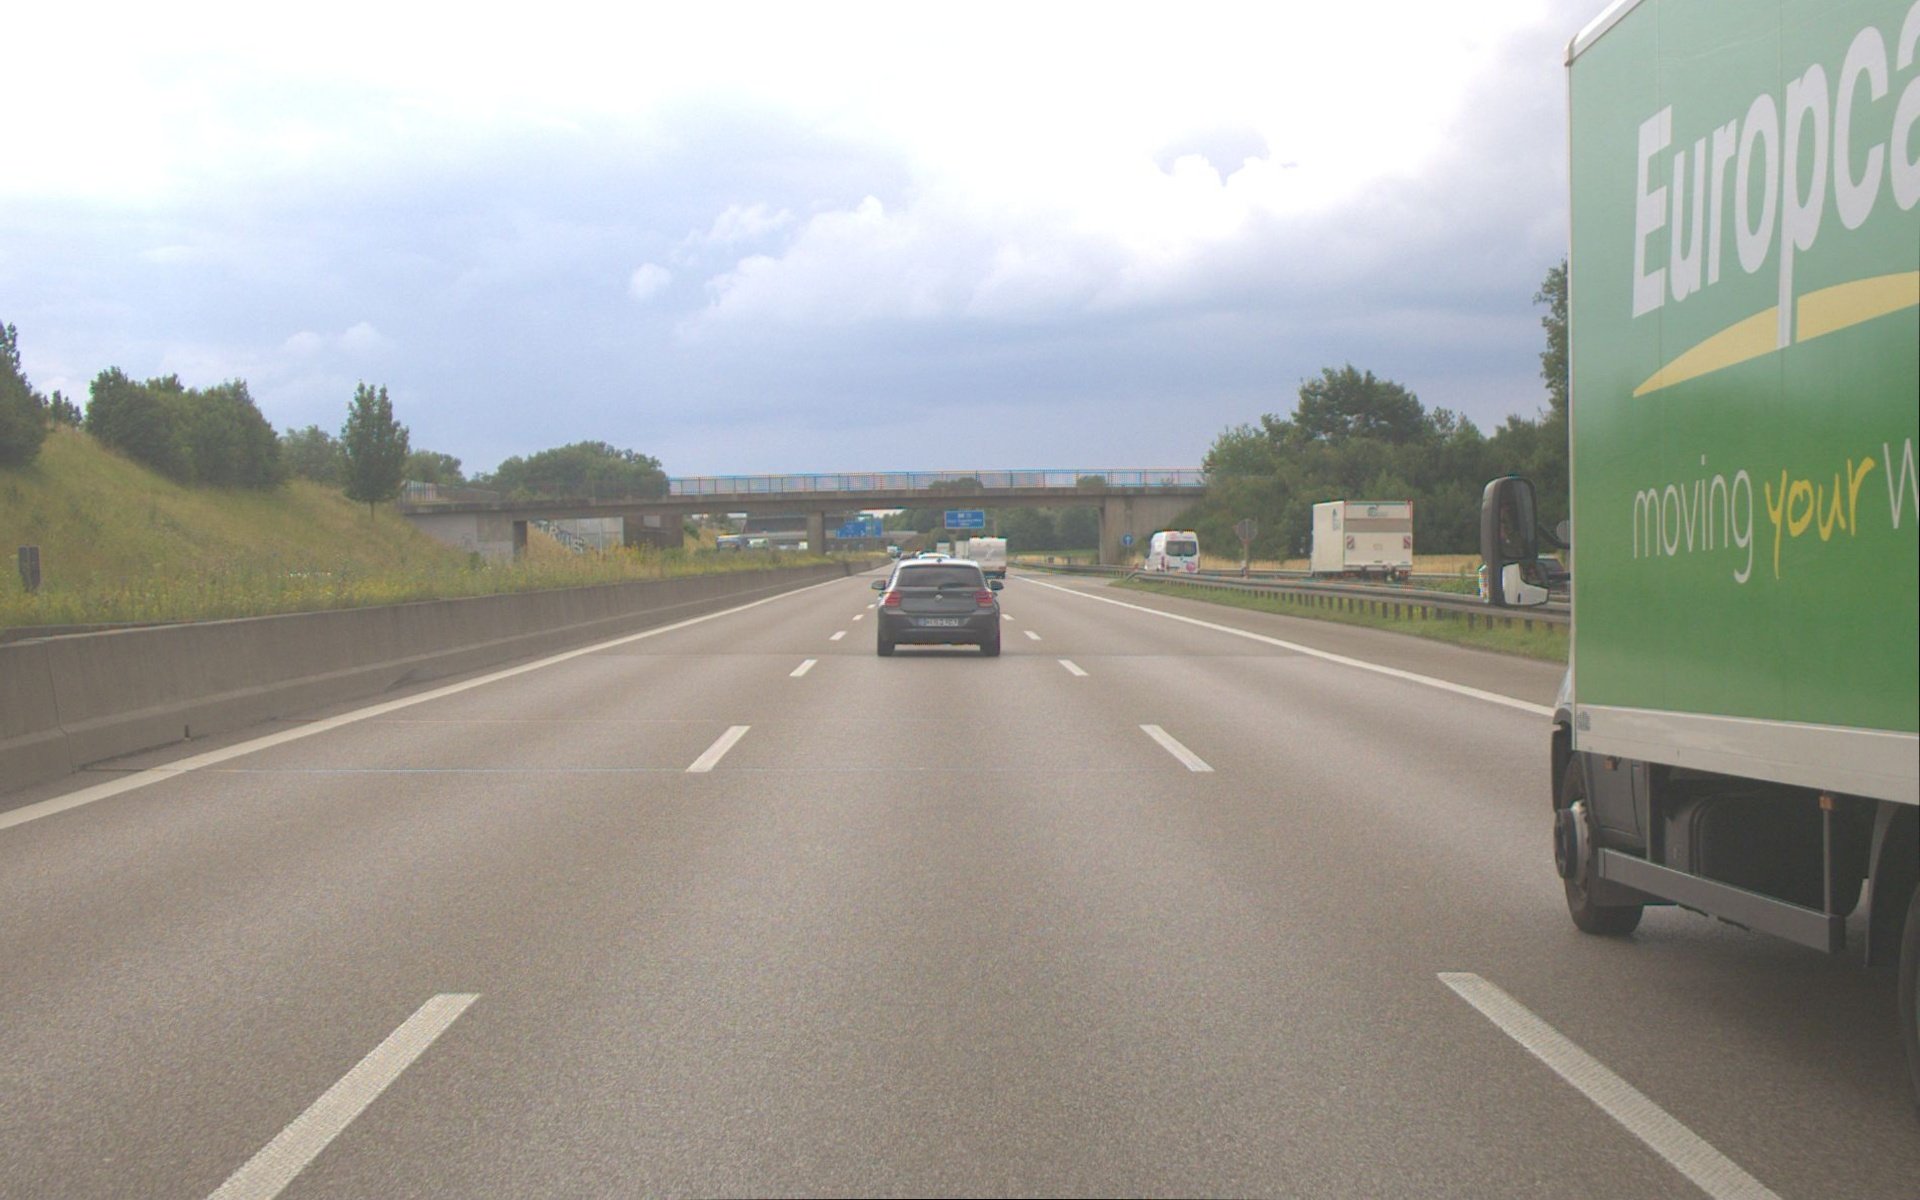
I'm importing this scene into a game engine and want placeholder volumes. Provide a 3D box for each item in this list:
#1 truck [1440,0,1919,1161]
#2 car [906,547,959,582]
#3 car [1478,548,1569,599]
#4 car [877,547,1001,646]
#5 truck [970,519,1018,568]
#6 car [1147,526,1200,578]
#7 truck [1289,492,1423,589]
[{"bbox_3d":[3.516,-0.533,10.353,2.770,3.492,9.062,0,1,0],"label":"truck"},{"bbox_3d":[-1.083,-1.385,133.569,1.993,1.294,4.000,-1,1,-1],"label":"car"},{"bbox_3d":[18.213,-0.876,111.342,1.917,1.545,4.924,-1,1,-2],"label":"car"},{"bbox_3d":[-0.314,-0.078,50.483,1.743,1.384,4.000,0,1,0],"label":"car"},{"bbox_3d":[2.129,-3.543,217.354,2.710,2.954,12.447,1,1,-1],"label":"truck"},{"bbox_3d":[10.756,-2.439,173.231,2.221,2.559,6.256,0,1,0],"label":"car"},{"bbox_3d":[14.729,-2.192,128.720,3.104,3.459,8.893,1,1,-6],"label":"truck"}]
